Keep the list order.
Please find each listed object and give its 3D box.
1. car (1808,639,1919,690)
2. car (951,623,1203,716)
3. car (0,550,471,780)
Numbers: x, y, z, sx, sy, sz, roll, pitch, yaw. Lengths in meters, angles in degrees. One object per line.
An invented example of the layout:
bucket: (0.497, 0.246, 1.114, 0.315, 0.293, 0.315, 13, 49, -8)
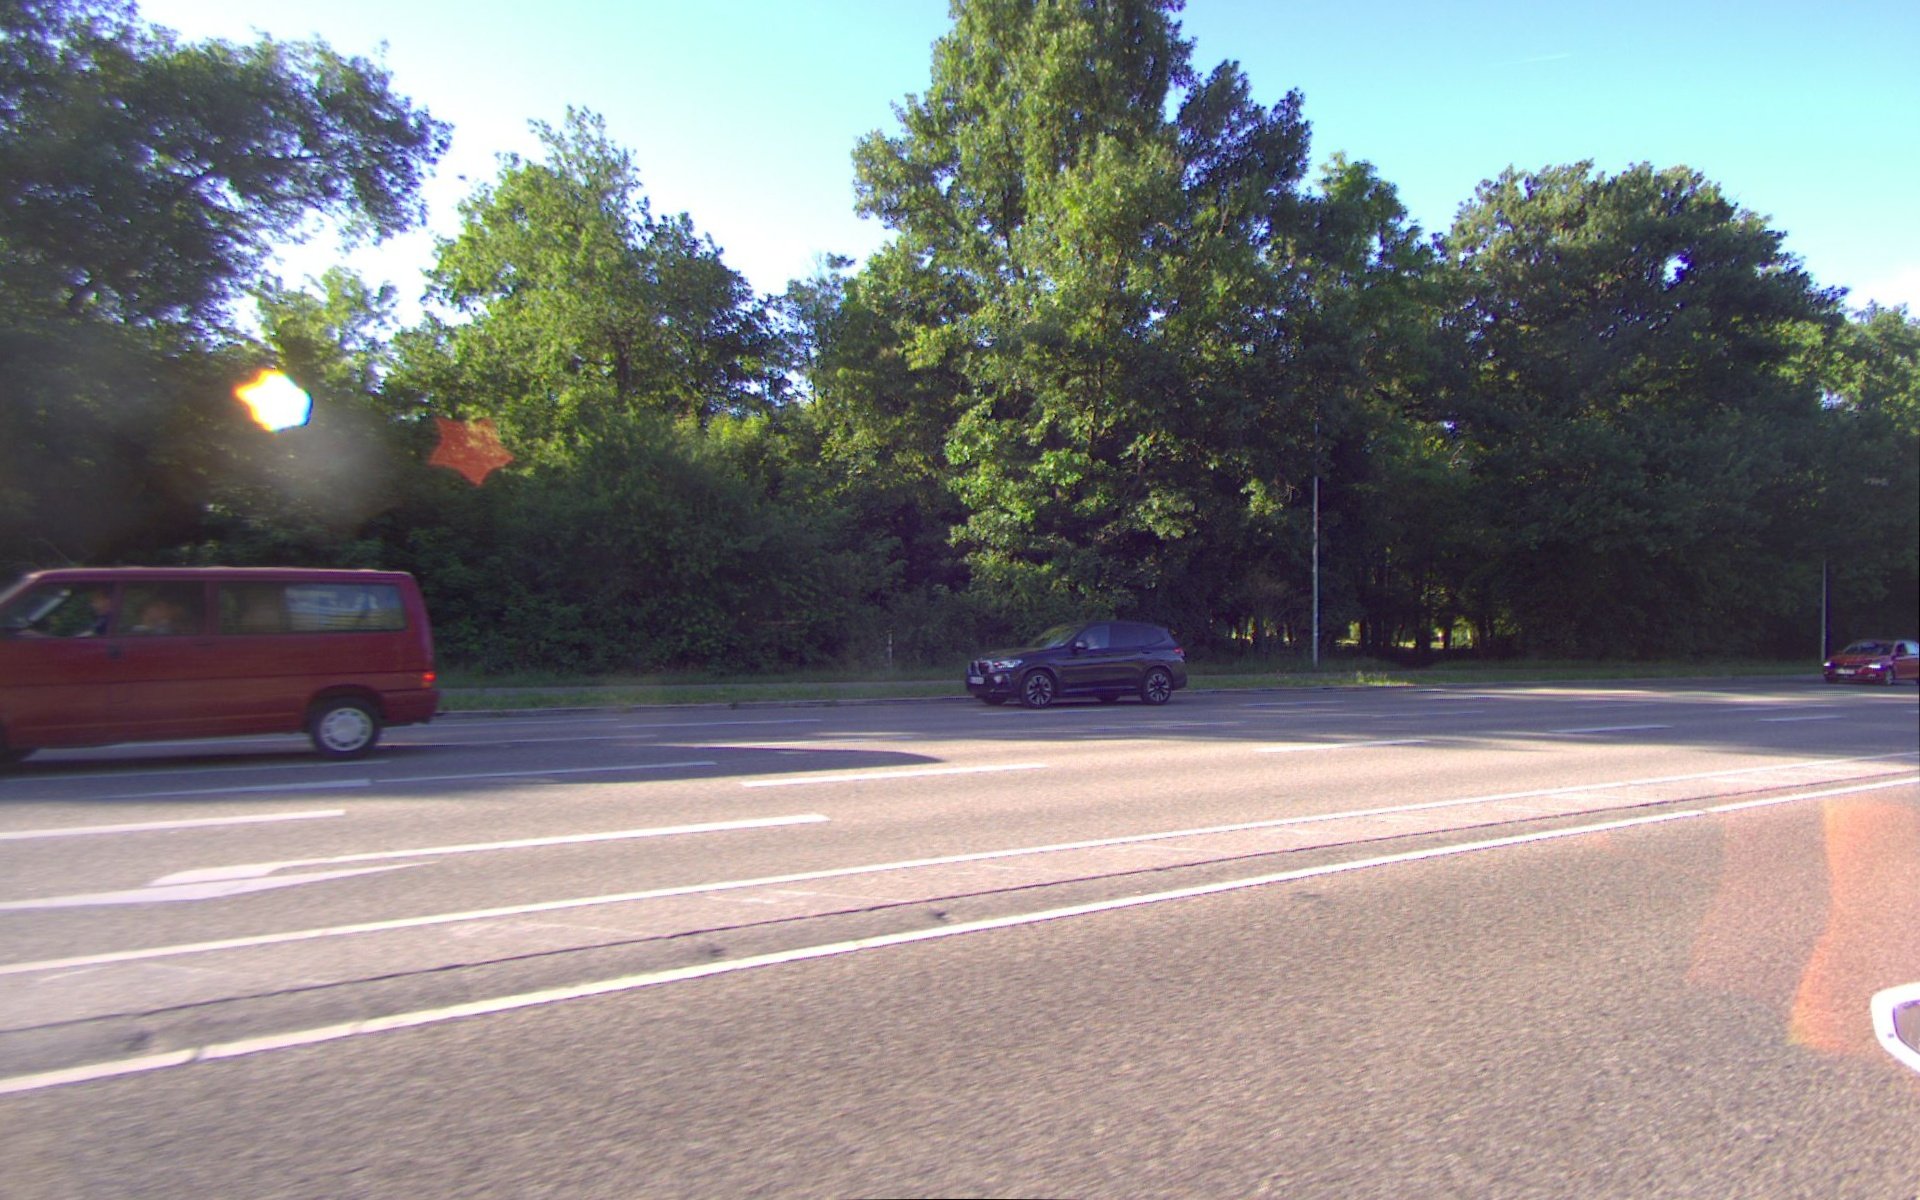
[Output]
car: (30.844, 2.144, 33.930, 4.285, 1.584, 1.985, 2, -2, -29)
car: (2.380, 1.321, 20.045, 4.788, 1.658, 1.984, 2, -2, -31)
car: (-7.643, 0.639, 10.260, 4.594, 1.987, 1.984, 2, -3, -31)
